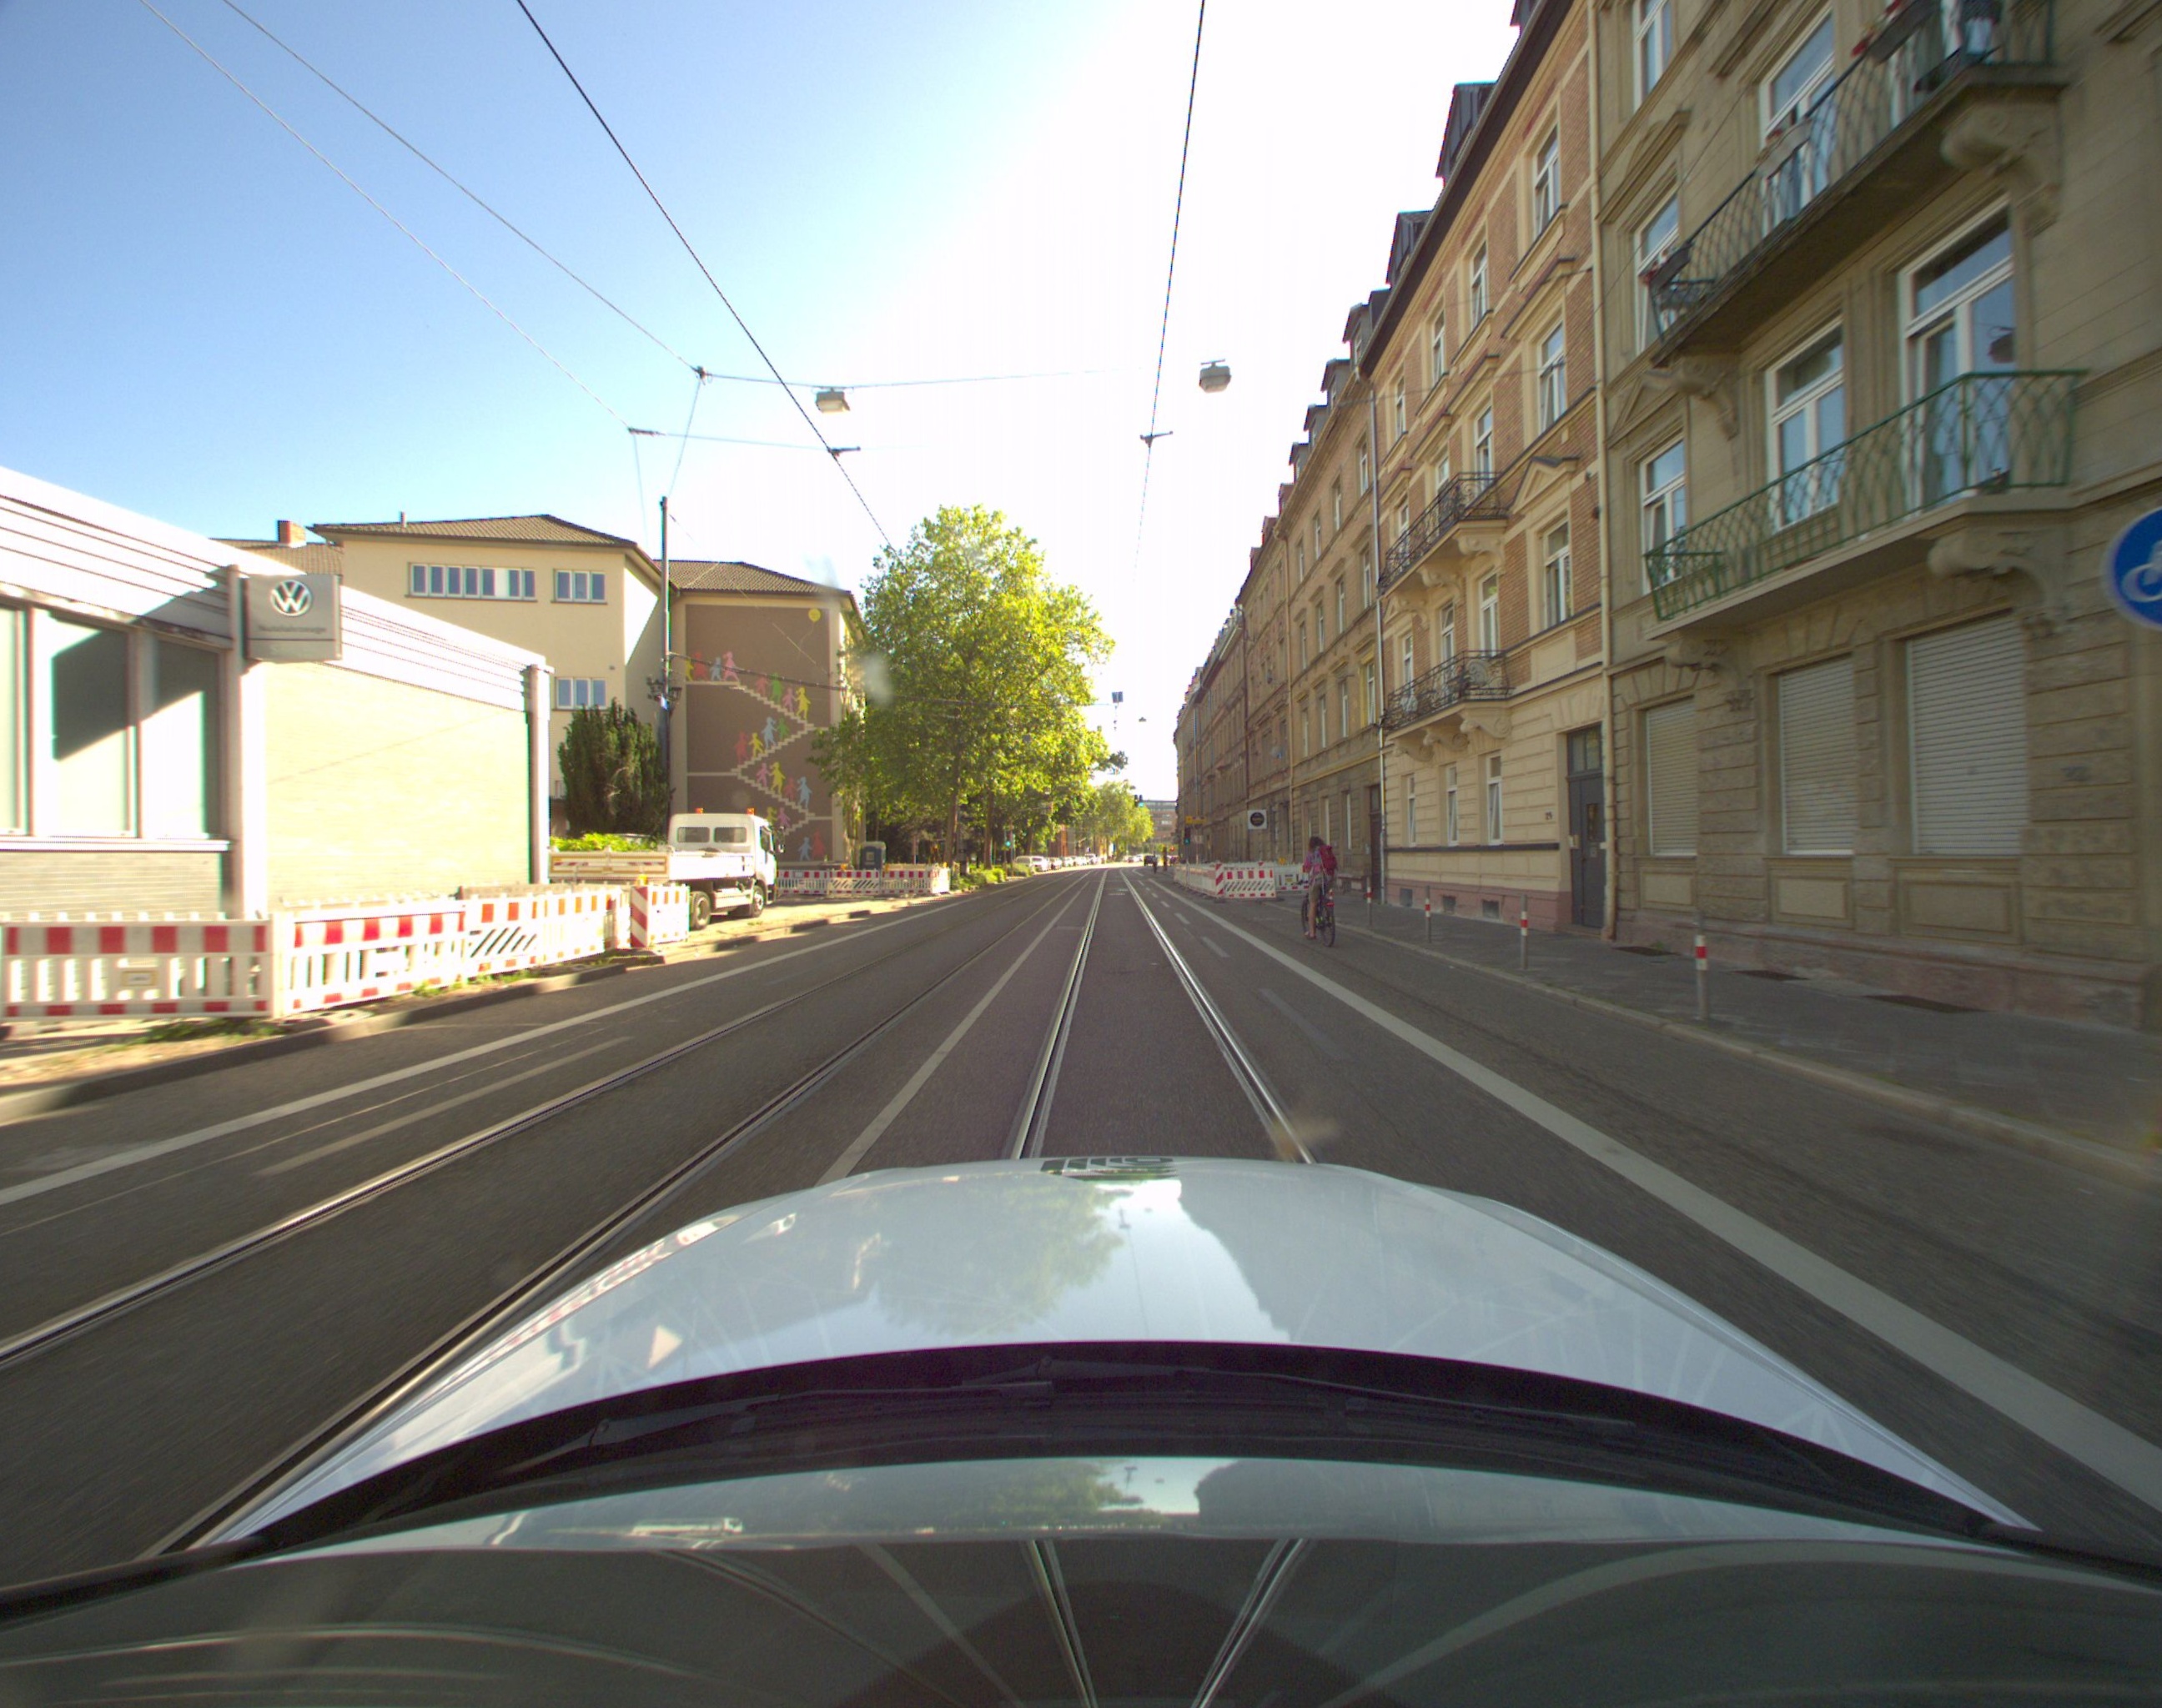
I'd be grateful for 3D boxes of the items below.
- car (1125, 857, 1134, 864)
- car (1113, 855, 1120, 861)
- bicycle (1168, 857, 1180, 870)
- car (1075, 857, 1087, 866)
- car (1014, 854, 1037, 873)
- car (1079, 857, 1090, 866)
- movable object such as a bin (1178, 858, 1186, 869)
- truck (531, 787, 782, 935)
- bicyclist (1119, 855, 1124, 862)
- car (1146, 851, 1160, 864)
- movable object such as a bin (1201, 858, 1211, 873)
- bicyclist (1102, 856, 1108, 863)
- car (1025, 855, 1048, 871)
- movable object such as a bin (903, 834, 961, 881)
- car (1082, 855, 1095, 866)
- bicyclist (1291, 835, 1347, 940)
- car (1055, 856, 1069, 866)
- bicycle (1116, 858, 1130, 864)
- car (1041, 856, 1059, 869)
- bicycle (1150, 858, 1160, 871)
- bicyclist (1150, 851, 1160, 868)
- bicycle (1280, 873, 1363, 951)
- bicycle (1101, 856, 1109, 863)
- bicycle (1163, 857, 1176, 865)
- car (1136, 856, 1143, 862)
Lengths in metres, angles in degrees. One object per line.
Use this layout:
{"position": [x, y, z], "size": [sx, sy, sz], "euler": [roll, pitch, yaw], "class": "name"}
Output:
{"position": [10.893, 1.423, 181.078], "size": [1.739, 1.422, 4.051], "euler": [1, -1, 7], "class": "car"}
{"position": [10.387, 1.201, 236.321], "size": [1.739, 1.625, 4.051], "euler": [1, -1, 7], "class": "car"}
{"position": [11.388, 1.187, 99.521], "size": [0.964, 1.515, 3.258], "euler": [0, -1, 14], "class": "bicycle"}
{"position": [-0.037, 1.312, 143.146], "size": [1.740, 1.587, 4.048], "euler": [1, -1, 5], "class": "car"}
{"position": [-5.017, 0.834, 73.738], "size": [1.538, 1.658, 3.767], "euler": [1, -1, 5], "class": "car"}
{"position": [0.628, 1.375, 148.324], "size": [1.740, 1.587, 4.048], "euler": [1, -1, 5], "class": "car"}
{"position": [9.772, 0.924, 78.497], "size": [0.671, 1.036, 0.814], "euler": [-1, 0, 2], "class": "movable object such as a bin"}
{"position": [-9.310, 0.172, 18.830], "size": [2.531, 2.830, 6.372], "euler": [1, -1, -2], "class": "truck"}
{"position": [8.720, 0.988, 175.771], "size": [0.893, 1.427, 1.056], "euler": [0, -1, 11], "class": "bicyclist"}
{"position": [11.080, 0.584, 125.314], "size": [1.985, 2.014, 4.002], "euler": [1, -1, 3], "class": "car"}
{"position": [9.288, 0.836, 60.312], "size": [0.618, 1.110, 0.780], "euler": [1, -1, -1], "class": "movable object such as a bin"}
{"position": [5.143, 1.193, 173.339], "size": [1.071, 1.427, 1.149], "euler": [0, -1, 10], "class": "bicyclist"}
{"position": [-4.563, 0.915, 84.132], "size": [1.740, 1.608, 4.048], "euler": [1, -1, 5], "class": "car"}
{"position": [-9.021, 0.214, 49.964], "size": [2.487, 2.645, 5.987], "euler": [1, 0, -1], "class": "movable object such as a bin"}
{"position": [1.437, 1.177, 153.336], "size": [2.049, 2.052, 4.048], "euler": [1, -1, 5], "class": "car"}
{"position": [3.986, 0.544, 13.717], "size": [0.664, 1.697, 1.043], "euler": [1, -1, 2], "class": "bicyclist"}
{"position": [-2.834, 1.108, 122.628], "size": [1.740, 1.495, 4.048], "euler": [1, -1, 5], "class": "car"}
{"position": [9.107, 1.427, 175.752], "size": [2.868, 1.231, 0.887], "euler": [0, -1, 12], "class": "bicycle"}
{"position": [-3.742, 1.075, 99.685], "size": [1.740, 1.509, 4.048], "euler": [1, -1, 5], "class": "car"}
{"position": [6.707, 0.942, 73.885], "size": [0.852, 1.088, 2.488], "euler": [1, -1, 2], "class": "bicycle"}
{"position": [6.720, 0.477, 73.831], "size": [0.835, 1.558, 0.966], "euler": [1, -1, 2], "class": "bicyclist"}
{"position": [3.972, 0.911, 13.669], "size": [0.678, 1.114, 2.708], "euler": [1, 0, 2], "class": "bicycle"}
{"position": [5.077, 1.186, 173.386], "size": [1.227, 1.572, 2.904], "euler": [0, -1, 9], "class": "bicycle"}
{"position": [12.550, 0.989, 115.127], "size": [0.633, 1.118, 2.311], "euler": [0, -1, 39], "class": "bicycle"}
{"position": [15.203, 1.285, 210.695], "size": [1.739, 1.422, 4.051], "euler": [1, -1, 7], "class": "car"}
